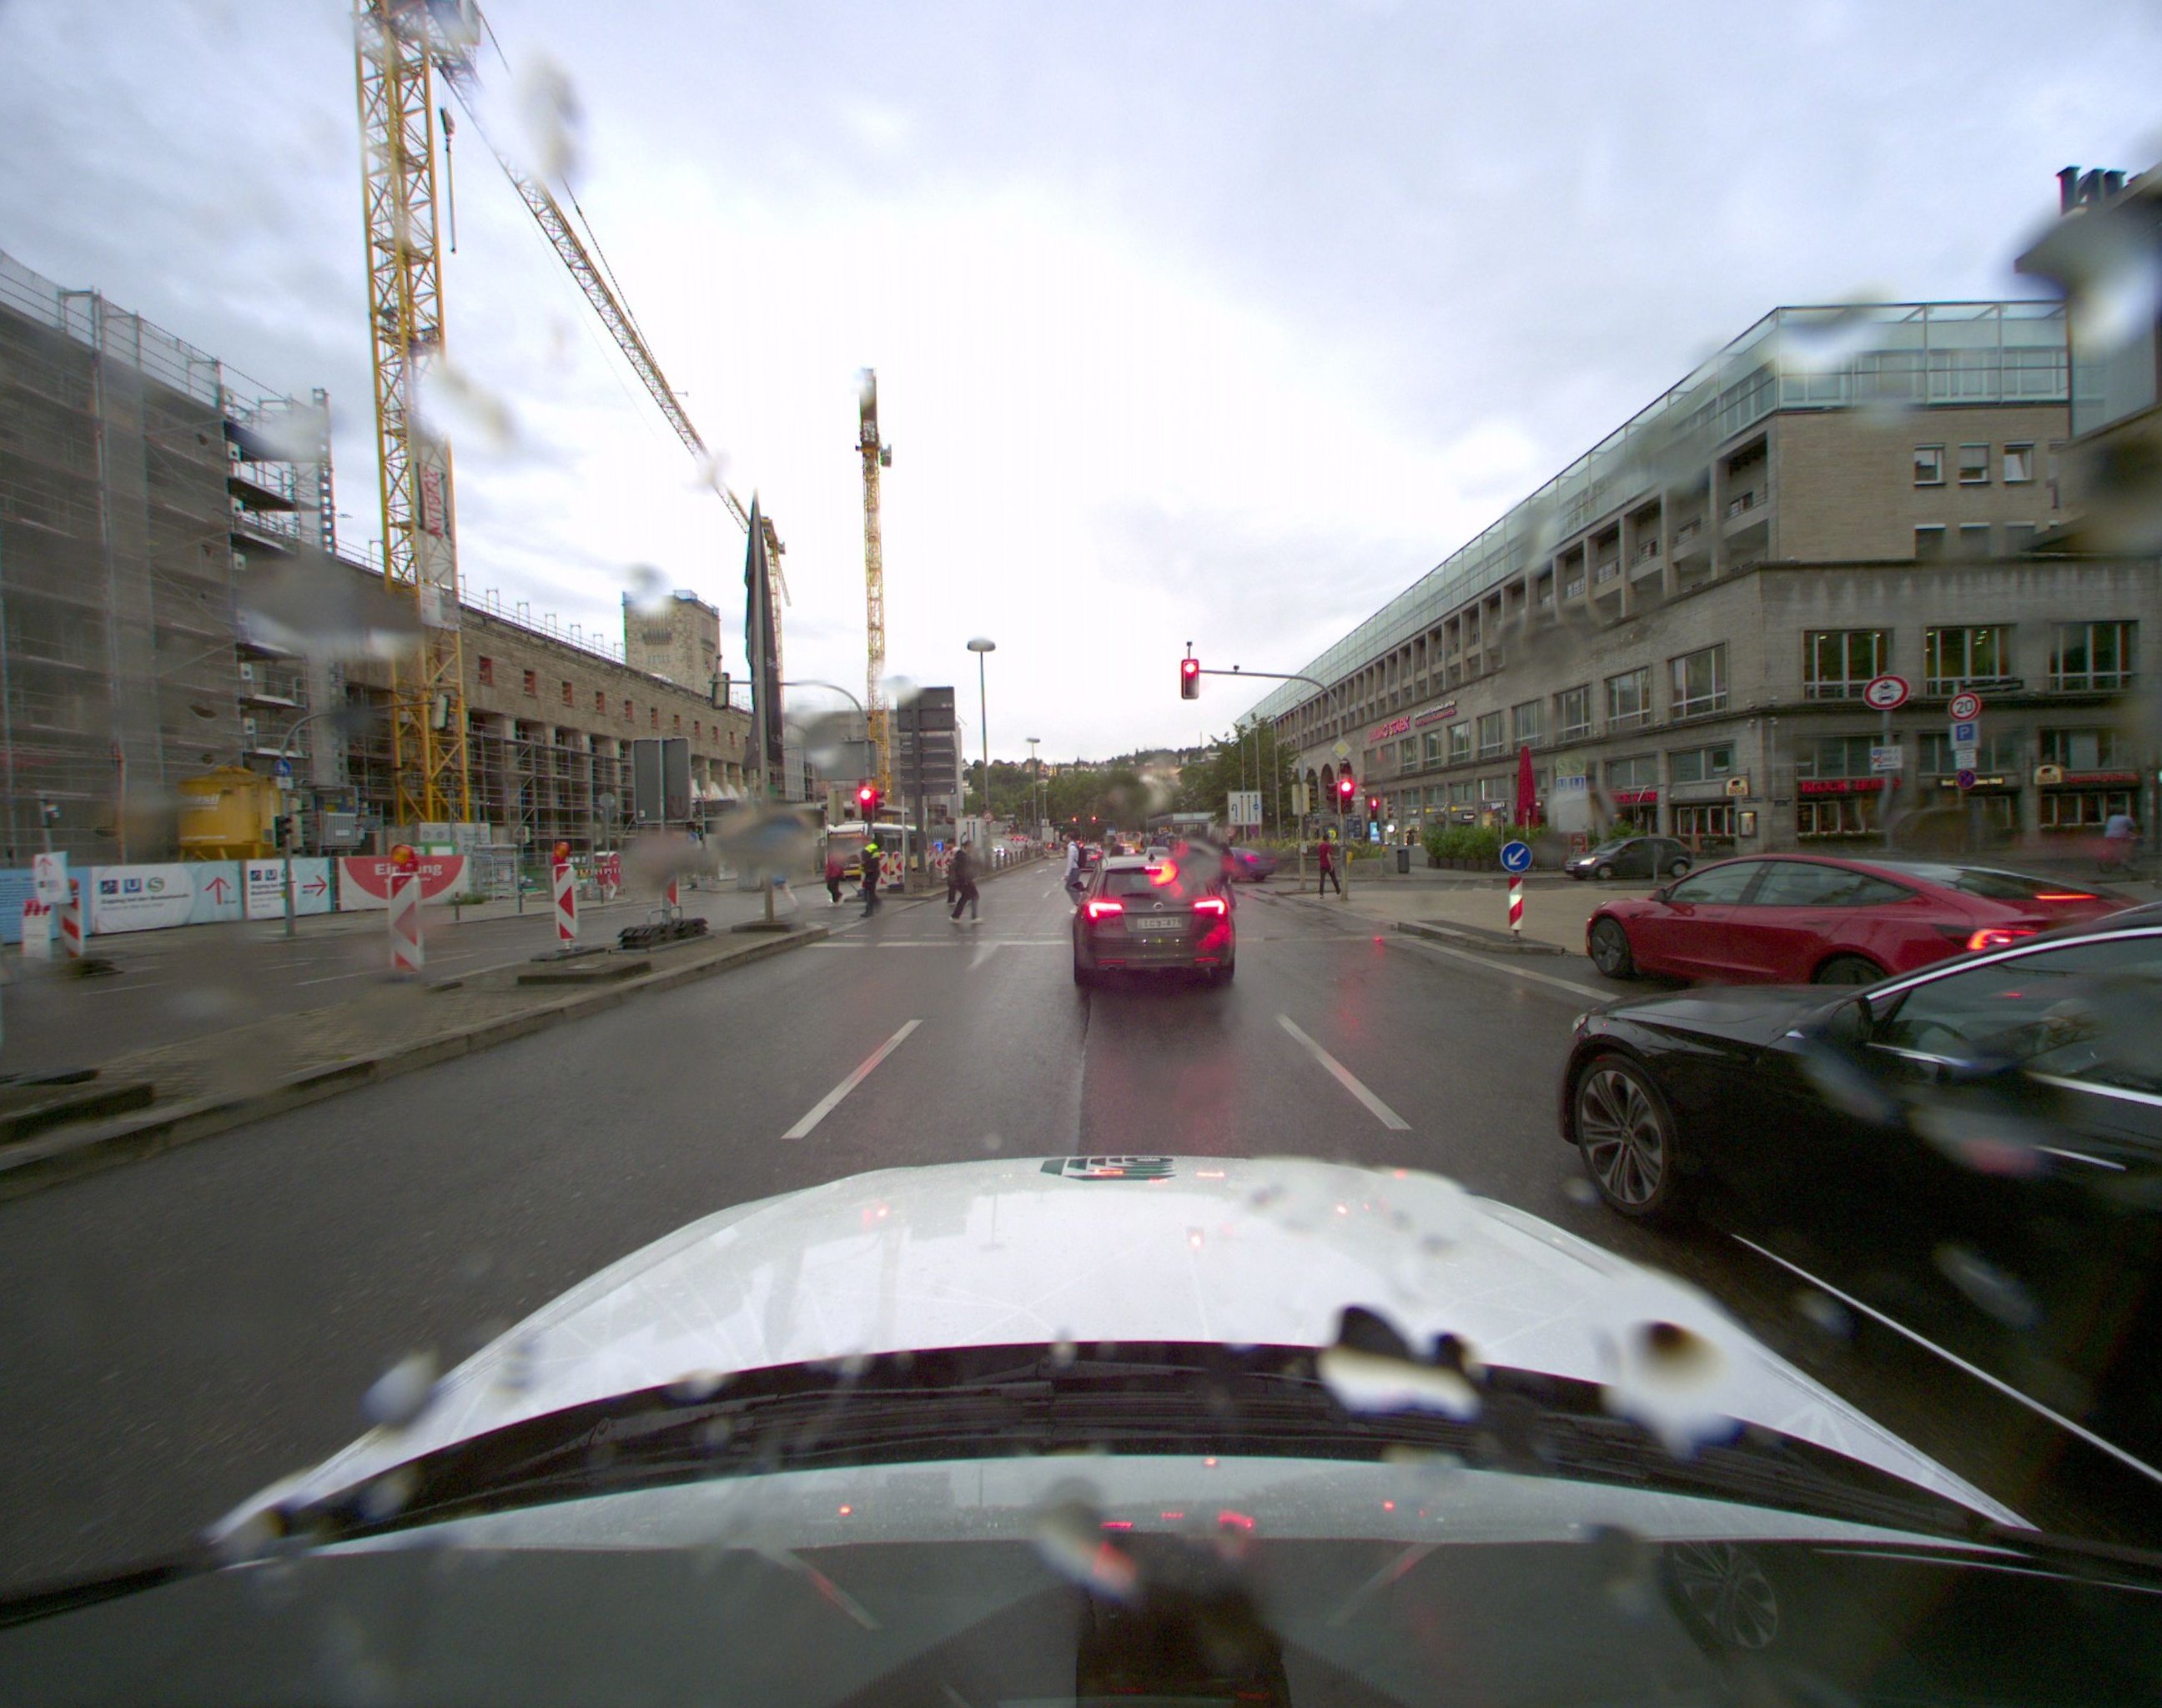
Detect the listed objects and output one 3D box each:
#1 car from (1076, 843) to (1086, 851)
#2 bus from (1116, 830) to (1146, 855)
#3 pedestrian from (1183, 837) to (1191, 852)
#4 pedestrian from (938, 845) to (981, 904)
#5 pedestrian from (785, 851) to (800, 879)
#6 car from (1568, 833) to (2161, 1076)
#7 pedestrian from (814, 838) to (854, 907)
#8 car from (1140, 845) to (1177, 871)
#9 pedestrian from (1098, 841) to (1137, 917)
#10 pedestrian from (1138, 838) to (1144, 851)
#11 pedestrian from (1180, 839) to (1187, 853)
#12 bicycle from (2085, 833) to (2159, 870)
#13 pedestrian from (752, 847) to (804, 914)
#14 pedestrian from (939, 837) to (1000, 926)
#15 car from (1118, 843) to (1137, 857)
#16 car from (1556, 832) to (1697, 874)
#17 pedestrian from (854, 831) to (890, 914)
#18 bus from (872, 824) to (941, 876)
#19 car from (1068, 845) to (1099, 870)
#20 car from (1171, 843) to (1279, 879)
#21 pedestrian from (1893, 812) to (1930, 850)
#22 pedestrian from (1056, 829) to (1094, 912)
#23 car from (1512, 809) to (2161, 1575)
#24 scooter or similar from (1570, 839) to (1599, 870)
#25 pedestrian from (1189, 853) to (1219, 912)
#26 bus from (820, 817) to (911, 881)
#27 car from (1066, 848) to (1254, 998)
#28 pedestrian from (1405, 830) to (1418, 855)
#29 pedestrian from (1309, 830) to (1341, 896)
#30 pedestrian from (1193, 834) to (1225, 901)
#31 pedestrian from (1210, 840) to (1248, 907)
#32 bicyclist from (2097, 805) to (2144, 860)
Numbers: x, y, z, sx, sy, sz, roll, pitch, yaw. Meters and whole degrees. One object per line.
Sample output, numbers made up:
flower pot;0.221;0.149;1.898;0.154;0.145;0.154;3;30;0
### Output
car;0.050;-1.328;152.621;1.752;1.398;3.565;0;0;2
bus;7.395;-1.655;123.337;4.158;3.469;14.660;0;0;2
pedestrian;12.542;-1.115;96.465;0.761;1.690;0.824;0;0;-3
pedestrian;-3.350;0.548;22.433;0.879;1.561;0.778;0;0;-38
pedestrian;-19.473;0.704;54.920;0.659;1.855;0.799;-2;0;2
car;6.580;0.617;7.262;1.868;1.486;4.528;0;0;1
pedestrian;-6.455;0.476;21.308;0.797;1.717;0.619;-3;0;-2
car;4.474;0.220;47.713;1.747;1.398;4.401;0;0;0
pedestrian;0.794;0.533;17.865;0.791;1.626;0.899;0;0;-2
pedestrian;10.839;-1.732;147.059;1.194;2.435;1.229;0;0;3
pedestrian;12.269;-0.928;97.679;0.761;1.690;0.824;0;0;-3
bicycle;29.742;-0.077;23.257;2.213;1.009;0.589;0;0;-18
pedestrian;-7.291;0.623;19.622;0.912;1.563;0.899;0;0;-2
pedestrian;-2.299;0.556;16.890;1.093;1.751;0.653;-3;0;-1
car;4.619;-0.393;81.948;1.838;1.398;3.565;0;0;2
car;18.856;-0.025;28.274;3.638;1.398;1.854;0;0;4
pedestrian;-4.718;0.408;18.419;0.576;1.836;0.820;0;0;2
bus;-12.937;-0.292;61.439;2.658;3.602;10.216;0;0;2
car;0.157;0.180;47.979;1.747;1.398;4.538;0;0;0
car;5.977;0.275;34.383;1.766;1.398;4.598;0;0;-35
pedestrian;33.768;-0.940;33.111;0.754;1.512;0.717;0;0;3
pedestrian;-0.148;0.378;18.941;0.798;1.890;0.618;0;0;-7
car;3.009;0.656;1.742;1.787;1.501;4.629;0;0;1
scooter or similar;19.472;0.029;31.512;0.290;1.189;1.014;0;0;-17
pedestrian;3.117;0.711;20.639;0.677;1.474;0.366;0;0;-3
bus;-13.267;-0.298;51.254;2.658;3.602;10.243;0;0;2
car;0.842;0.691;10.146;1.868;1.486;4.001;0;0;1
pedestrian;26.724;-0.948;65.896;0.760;2.013;0.825;0;0;2
pedestrian;6.669;0.246;22.242;0.563;1.752;0.684;-1;0;44
pedestrian;3.340;0.353;21.235;0.753;1.717;0.466;0;0;-2
pedestrian;3.633;0.468;20.069;0.797;1.608;0.619;0;0;-2
bicyclist;29.591;-0.610;23.194;0.717;1.540;0.609;0;0;-17
